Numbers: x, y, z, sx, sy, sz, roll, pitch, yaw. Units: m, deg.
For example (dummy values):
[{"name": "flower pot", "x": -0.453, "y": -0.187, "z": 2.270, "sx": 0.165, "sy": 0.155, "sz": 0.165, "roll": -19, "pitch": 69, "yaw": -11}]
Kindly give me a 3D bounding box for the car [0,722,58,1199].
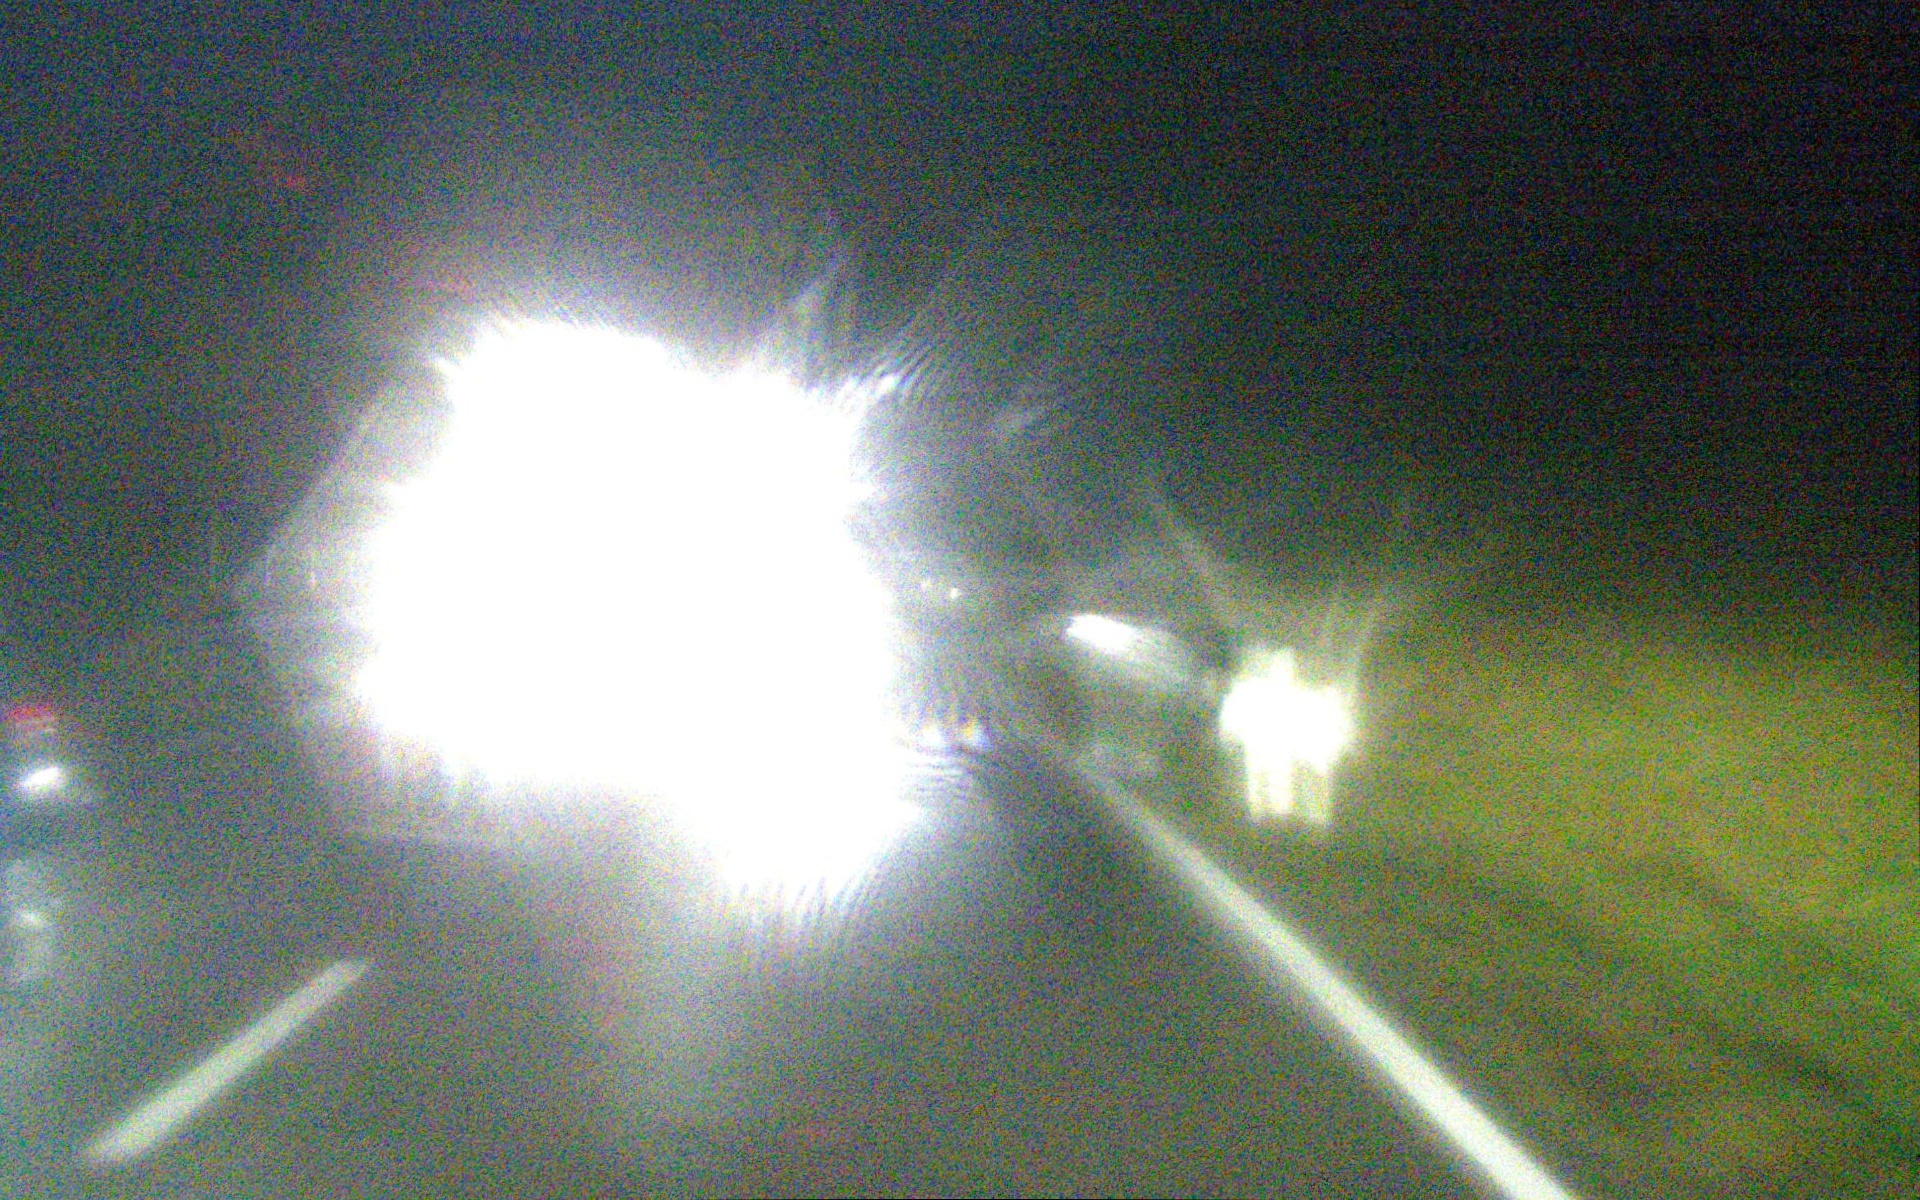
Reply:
[{"name": "car", "x": -3.794, "y": 1.454, "z": 9.226, "sx": 1.993, "sy": 2.007, "sz": 4.001, "roll": 0, "pitch": 2, "yaw": -5}]
